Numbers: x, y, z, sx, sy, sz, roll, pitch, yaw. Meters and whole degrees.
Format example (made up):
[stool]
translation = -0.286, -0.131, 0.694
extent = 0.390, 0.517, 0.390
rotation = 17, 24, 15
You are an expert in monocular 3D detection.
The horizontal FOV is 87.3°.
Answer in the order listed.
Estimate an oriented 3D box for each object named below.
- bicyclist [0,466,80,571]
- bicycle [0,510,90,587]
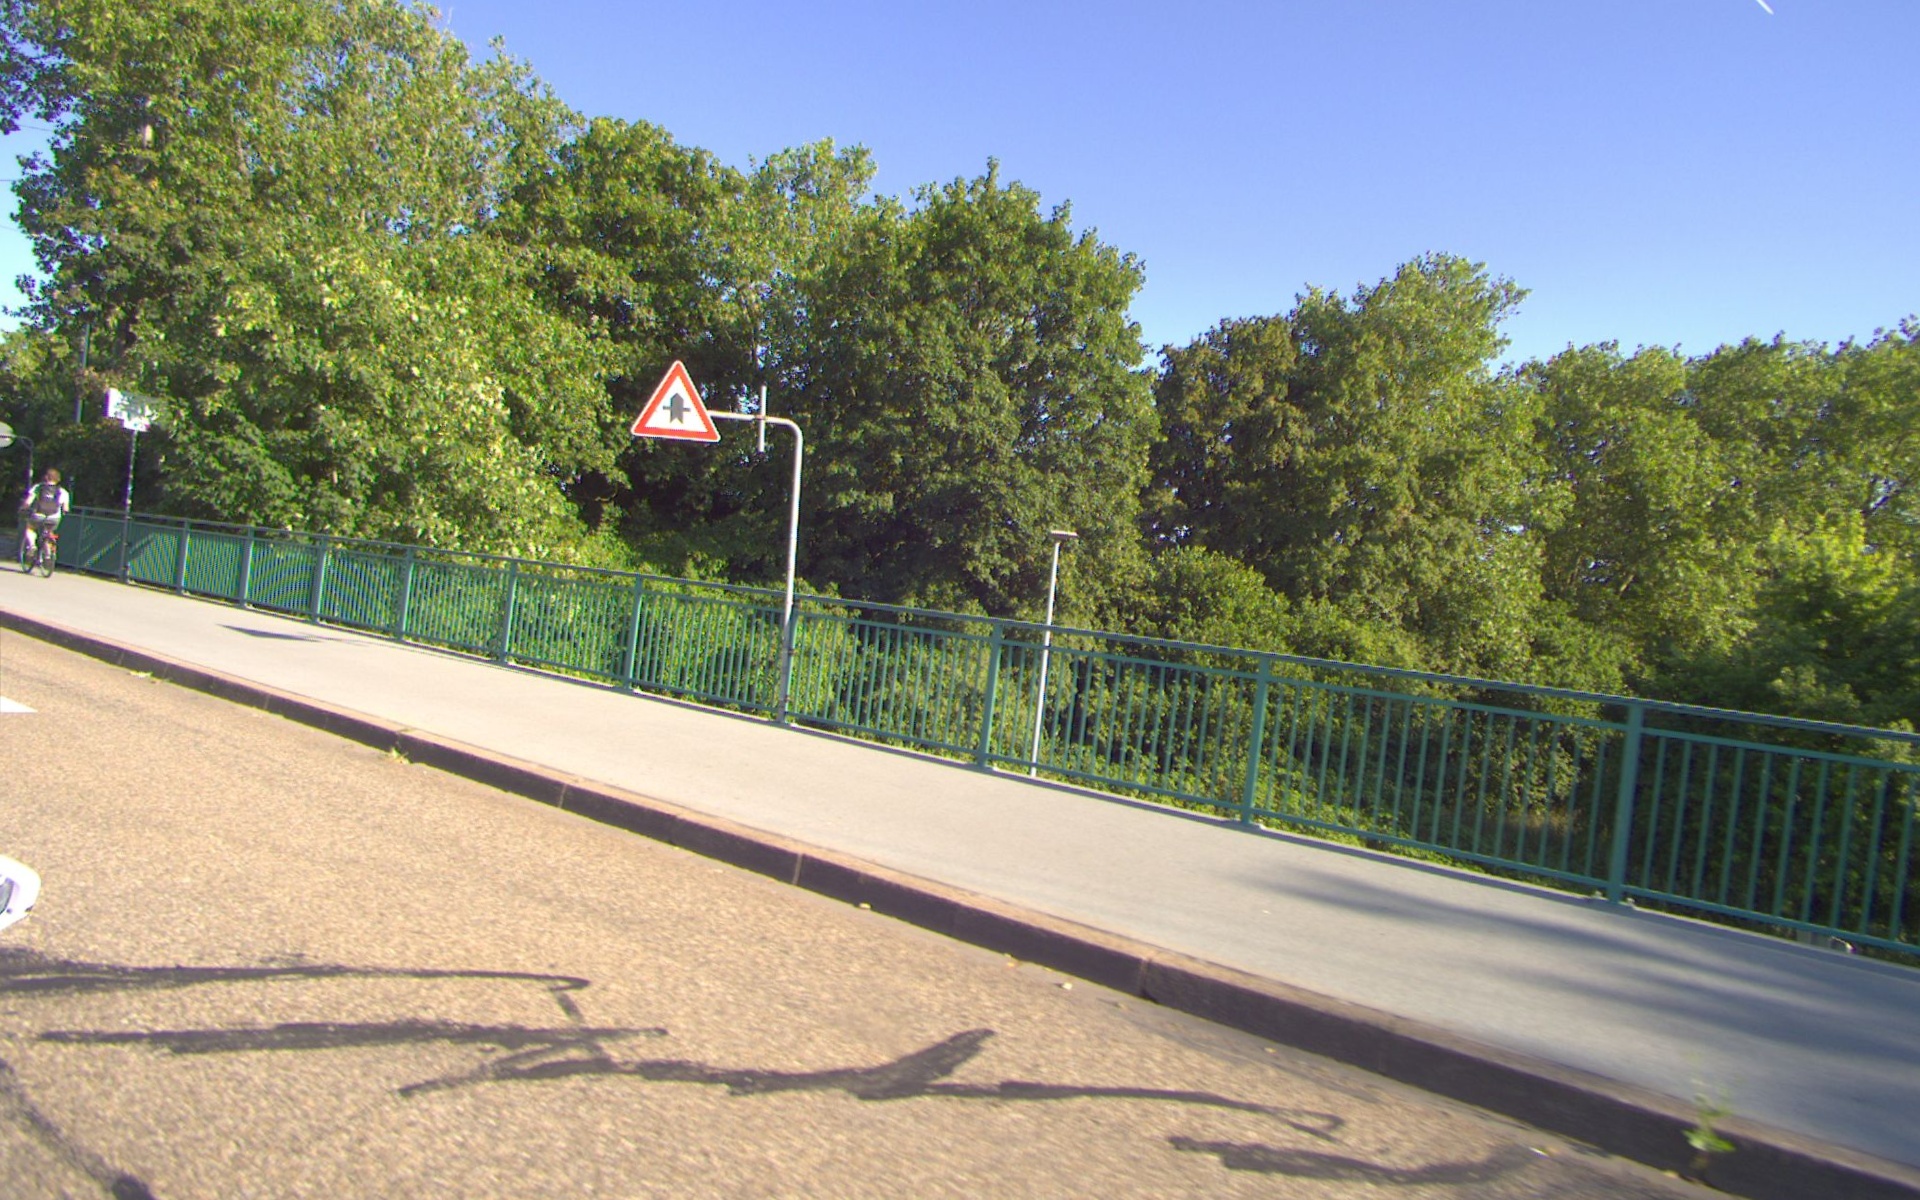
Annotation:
[bicyclist]
translation = -16.539, -1.465, 18.011
extent = 1.182, 1.710, 0.732
rotation = 7, 0, 31
[bicycle]
translation = -16.624, -0.958, 18.011
extent = 2.696, 1.136, 0.732
rotation = 7, 0, 32
